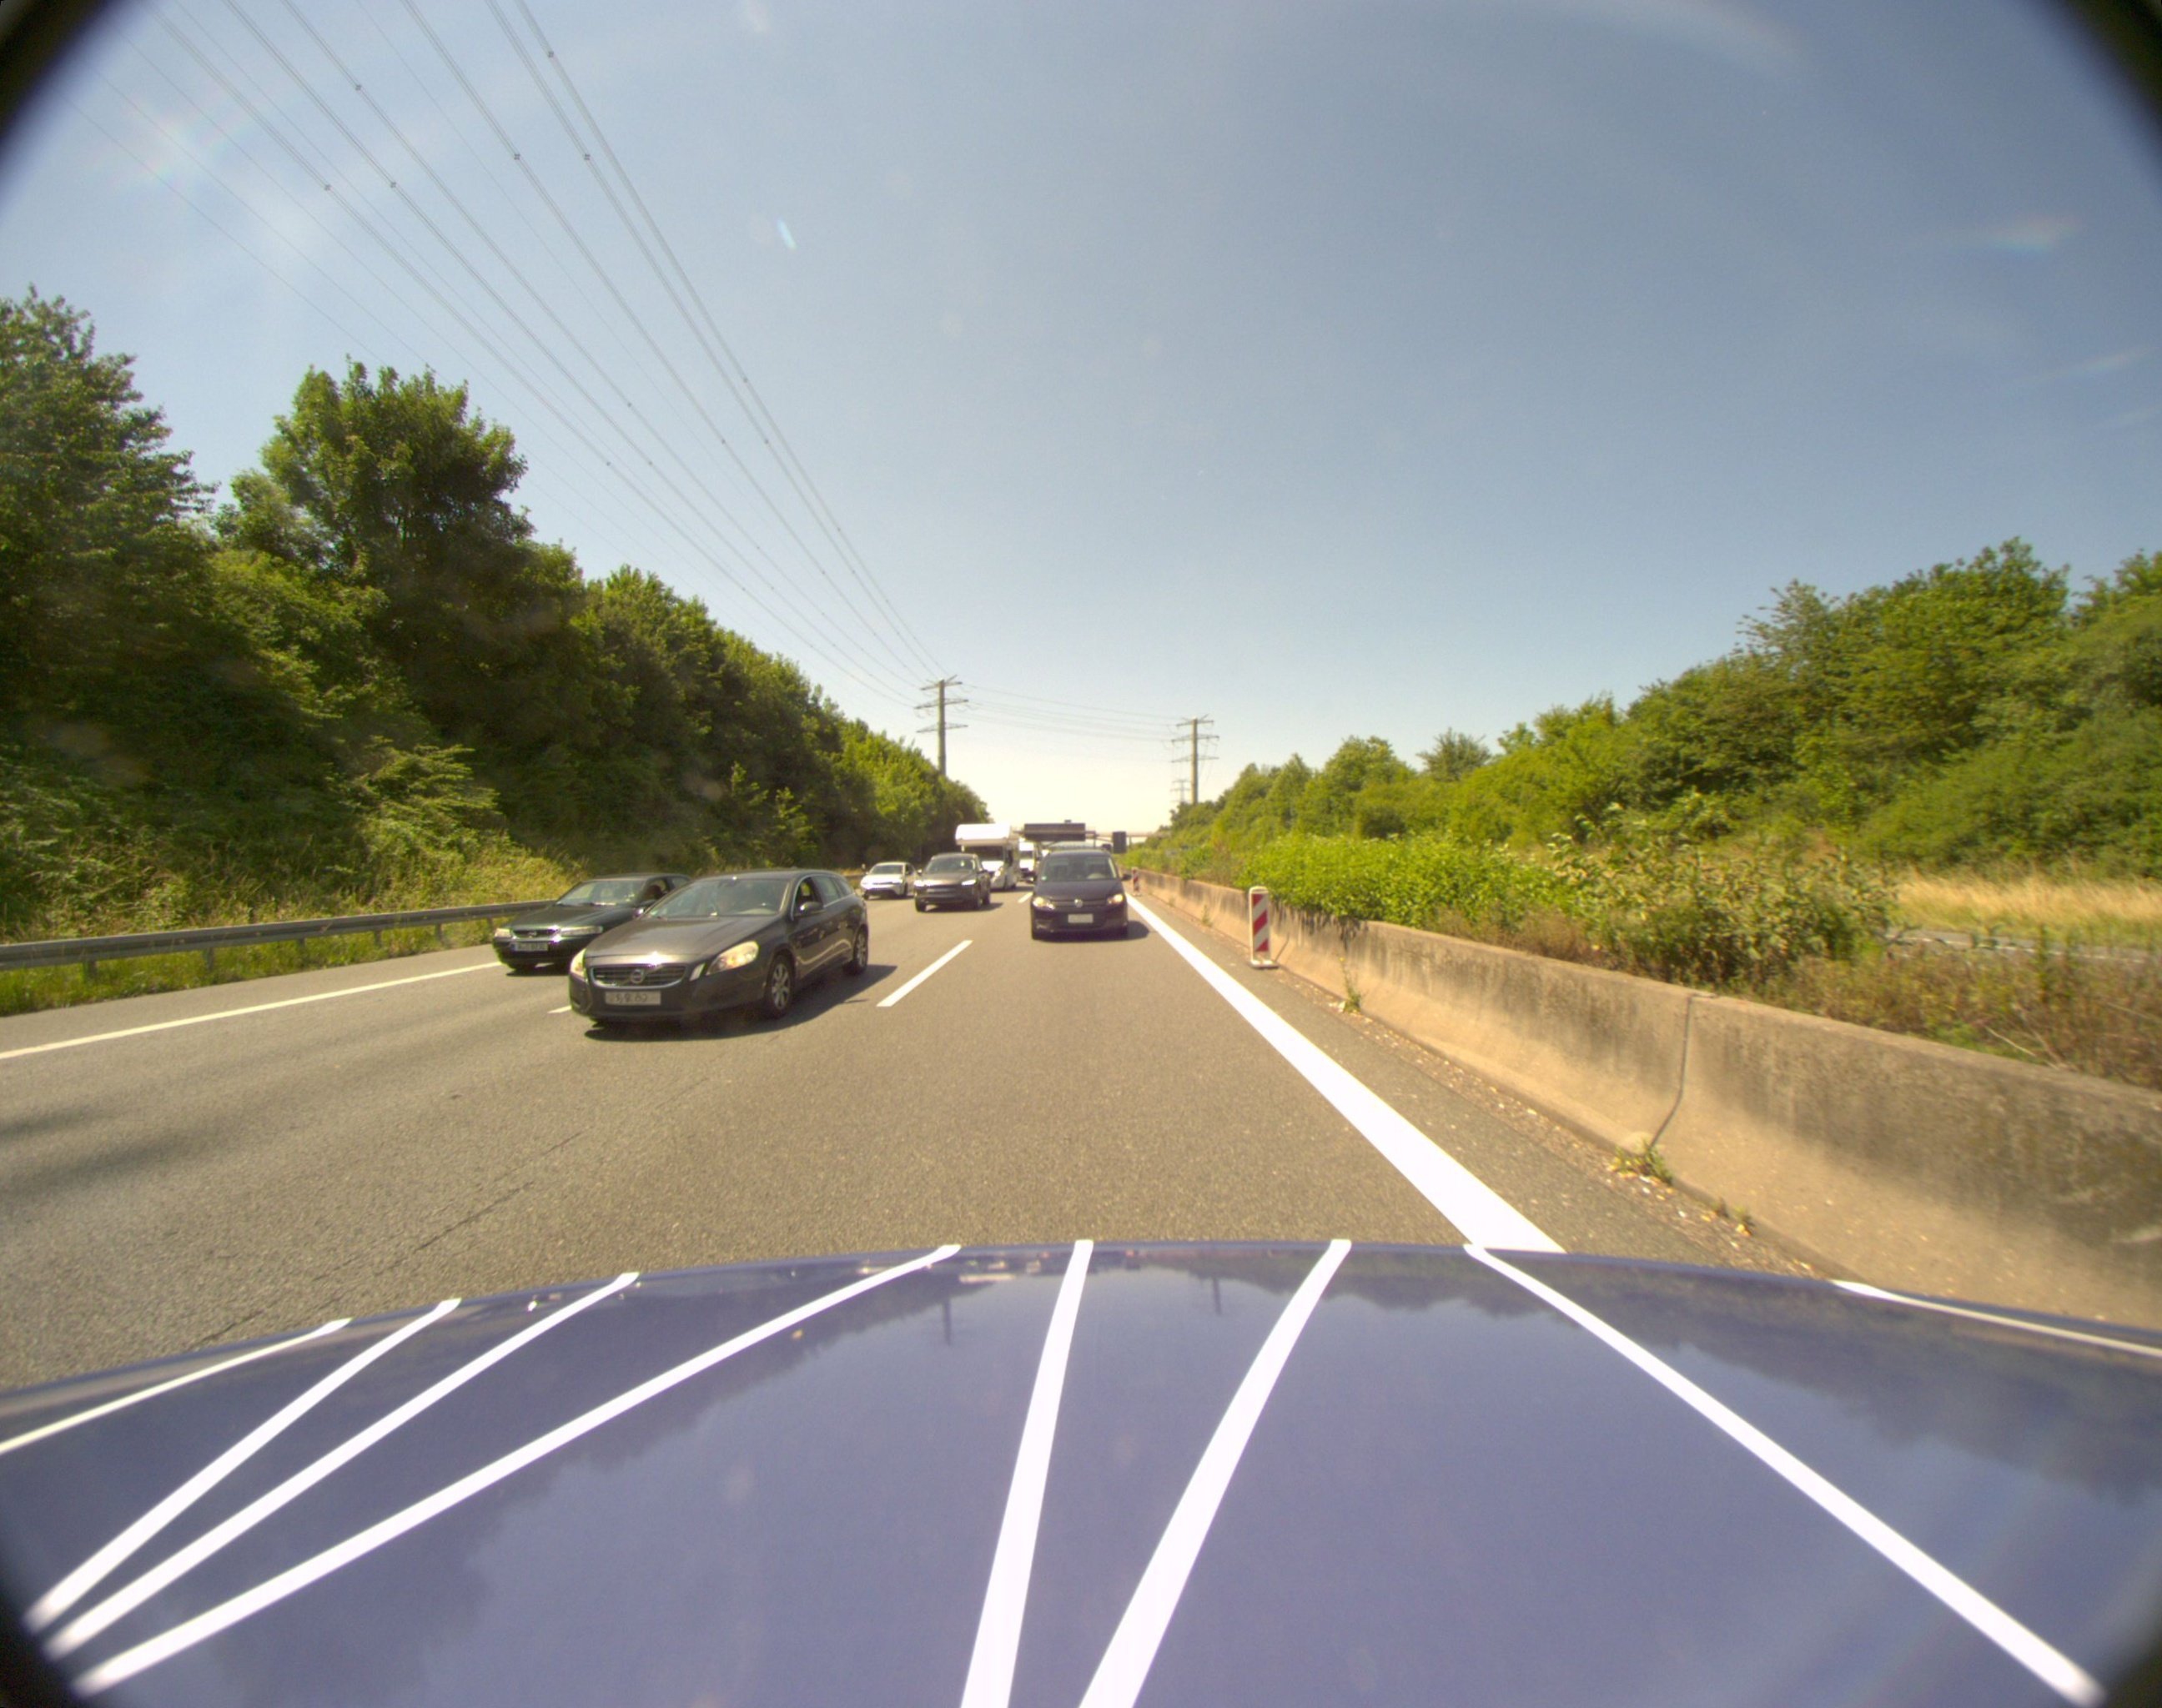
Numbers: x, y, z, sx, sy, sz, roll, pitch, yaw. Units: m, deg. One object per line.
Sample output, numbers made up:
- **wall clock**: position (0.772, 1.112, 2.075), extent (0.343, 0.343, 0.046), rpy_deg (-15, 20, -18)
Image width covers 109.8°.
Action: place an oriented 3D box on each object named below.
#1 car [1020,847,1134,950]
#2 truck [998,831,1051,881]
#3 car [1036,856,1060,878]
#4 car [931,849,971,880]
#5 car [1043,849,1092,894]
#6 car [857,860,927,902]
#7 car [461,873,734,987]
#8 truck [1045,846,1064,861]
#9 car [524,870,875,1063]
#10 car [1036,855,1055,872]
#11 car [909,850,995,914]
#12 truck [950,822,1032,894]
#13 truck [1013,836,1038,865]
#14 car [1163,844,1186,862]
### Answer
- **car**: position (-0.096, 0.734, 15.188), extent (1.892, 1.693, 4.382), rpy_deg (-2, 1, -1)
- **truck**: position (-3.675, 0.042, 51.740), extent (2.514, 2.997, 9.897), rpy_deg (-2, 1, 1)
- **car**: position (-2.848, 1.116, 65.708), extent (1.892, 1.693, 4.382), rpy_deg (-2, 1, -1)
- **car**: position (-8.579, 0.642, 50.453), extent (1.788, 1.893, 4.697), rpy_deg (-2, 1, 0)
- **car**: position (-0.589, 0.687, 32.473), extent (1.892, 1.693, 4.382), rpy_deg (-2, 1, -1)
- **car**: position (-7.557, 1.034, 30.765), extent (1.745, 1.461, 4.014), rpy_deg (-2, 0, 1)
- **car**: position (-7.726, 1.117, 12.750), extent (1.739, 1.370, 4.302), rpy_deg (-2, 1, 0)
- **truck**: position (-4.010, -0.090, 116.626), extent (2.409, 2.203, 6.743), rpy_deg (-2, 1, 1)
- **car**: position (-3.772, 0.989, 8.506), extent (1.800, 1.429, 4.230), rpy_deg (-2, 1, -1)
- **car**: position (-3.998, 1.051, 85.569), extent (1.892, 1.693, 4.382), rpy_deg (-2, 1, -1)
- **car**: position (-3.807, 0.754, 23.214), extent (1.892, 1.693, 4.382), rpy_deg (-2, 1, -1)
- **truck**: position (-4.139, 0.113, 37.395), extent (2.514, 2.997, 9.897), rpy_deg (-2, 1, 1)
- **truck**: position (-7.275, -0.461, 100.766), extent (2.409, 3.557, 9.190), rpy_deg (-2, 1, 0)
- **car**: position (15.769, -0.224, 128.677), extent (2.769, 2.856, 7.676), rpy_deg (-2, 1, 0)
